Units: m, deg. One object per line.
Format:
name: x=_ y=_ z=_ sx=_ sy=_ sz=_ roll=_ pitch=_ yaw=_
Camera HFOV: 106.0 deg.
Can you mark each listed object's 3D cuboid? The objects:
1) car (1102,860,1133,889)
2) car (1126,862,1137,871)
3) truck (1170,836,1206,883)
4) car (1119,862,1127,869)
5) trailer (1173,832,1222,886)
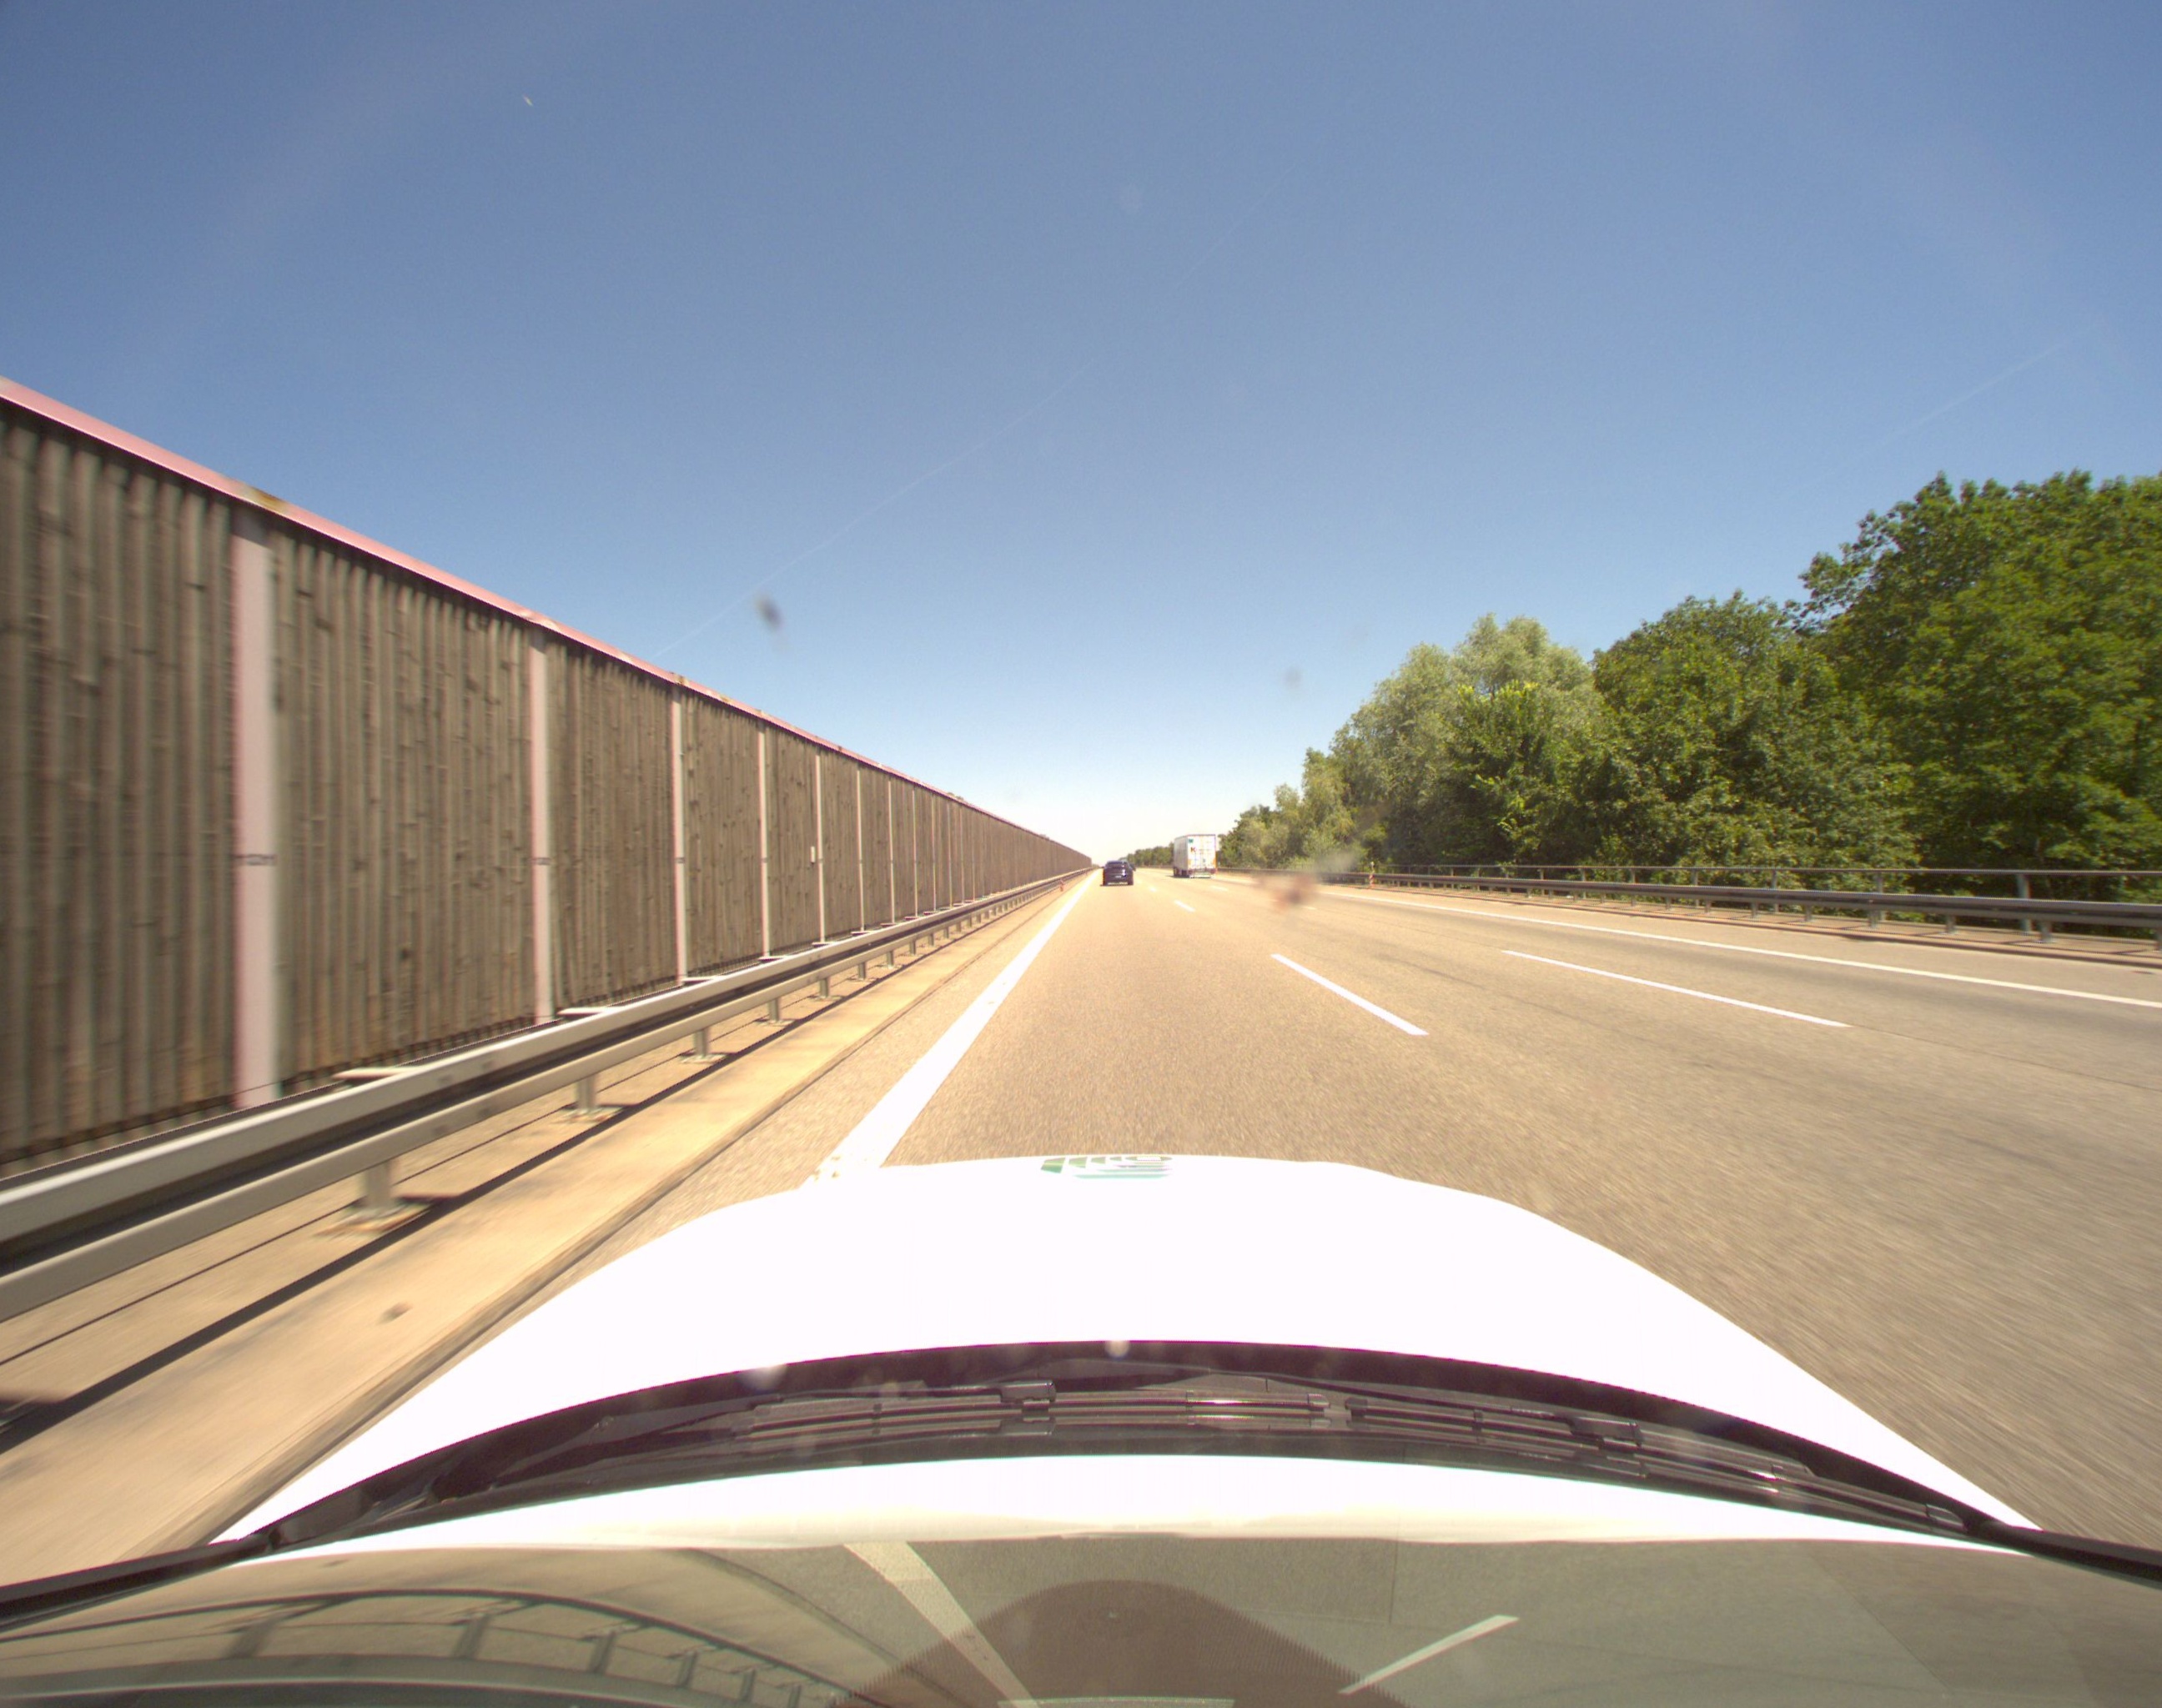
car: x=2.399 y=1.308 z=53.883 sx=1.874 sy=1.792 sz=4.000 roll=-1 pitch=-1 yaw=0
car: x=9.274 y=2.338 z=149.490 sx=1.896 sy=1.584 sz=4.305 roll=-2 pitch=-2 yaw=2
truck: x=11.642 y=0.596 z=89.549 sx=3.222 sy=4.889 sz=6.975 roll=-1 pitch=-1 yaw=2
car: x=10.417 y=2.937 z=201.295 sx=1.896 sy=1.584 sz=4.305 roll=-2 pitch=-2 yaw=2
trailer: x=11.290 y=0.514 z=80.403 sx=3.257 sy=4.838 sz=14.035 roll=-1 pitch=-1 yaw=2
